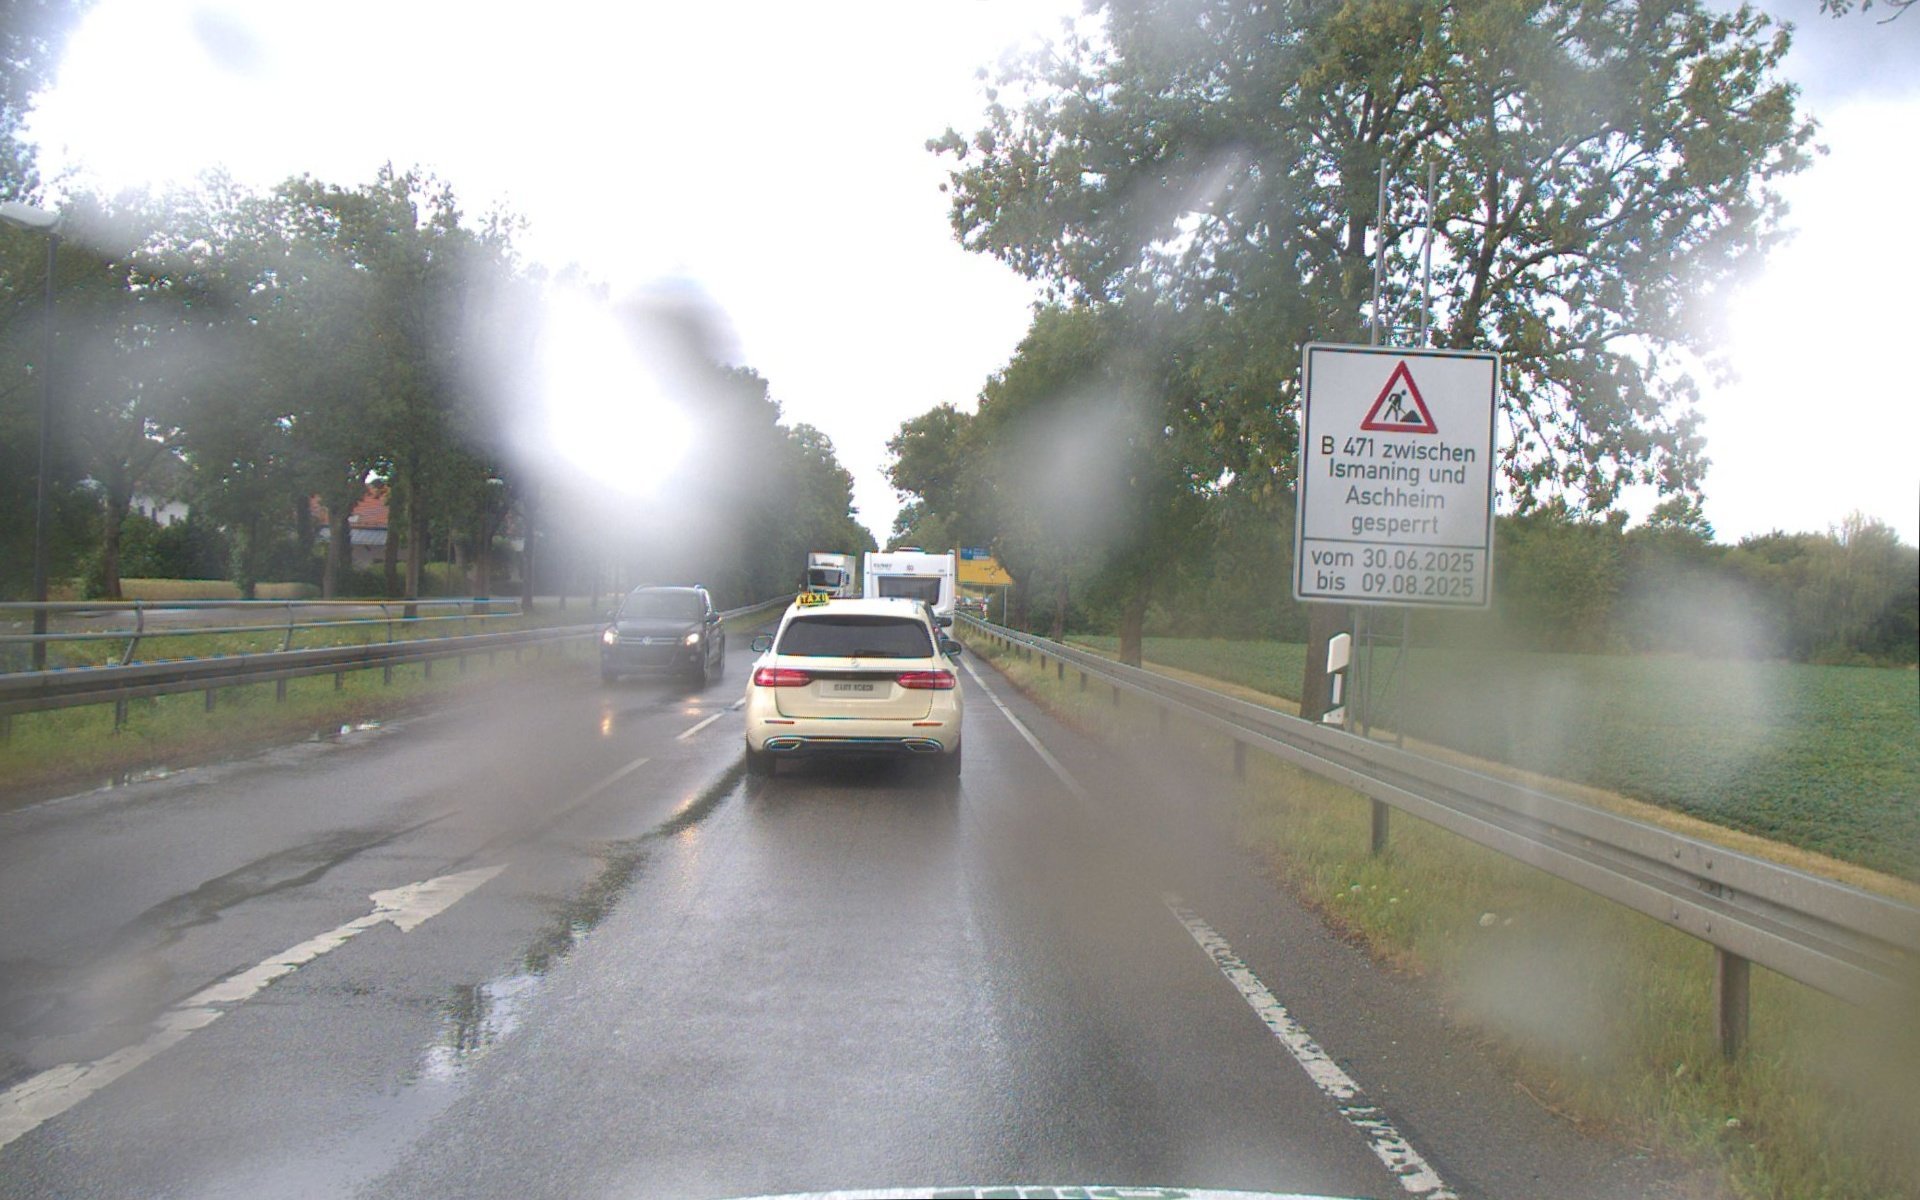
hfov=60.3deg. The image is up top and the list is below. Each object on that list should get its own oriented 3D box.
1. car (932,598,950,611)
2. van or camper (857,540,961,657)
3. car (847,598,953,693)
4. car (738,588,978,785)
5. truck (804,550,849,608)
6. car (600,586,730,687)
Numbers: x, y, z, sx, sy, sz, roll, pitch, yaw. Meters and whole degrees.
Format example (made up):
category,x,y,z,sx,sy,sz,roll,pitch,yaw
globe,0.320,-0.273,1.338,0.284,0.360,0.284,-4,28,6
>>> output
category,x,y,z,sx,sy,sz,roll,pitch,yaw
car,-1.678,0.423,145.860,1.520,1.138,3.999,1,0,-1
van or camper,-1.253,-0.038,42.387,2.439,2.732,5.699,1,0,-1
car,-0.951,0.702,27.565,1.630,1.456,3.999,1,0,-1
car,-0.805,0.661,14.710,1.827,1.502,3.999,1,0,-1
truck,-8.488,-1.293,105.753,2.525,3.513,9.550,0,0,-3
car,-5.134,0.590,29.237,1.729,1.647,3.998,1,0,-2
